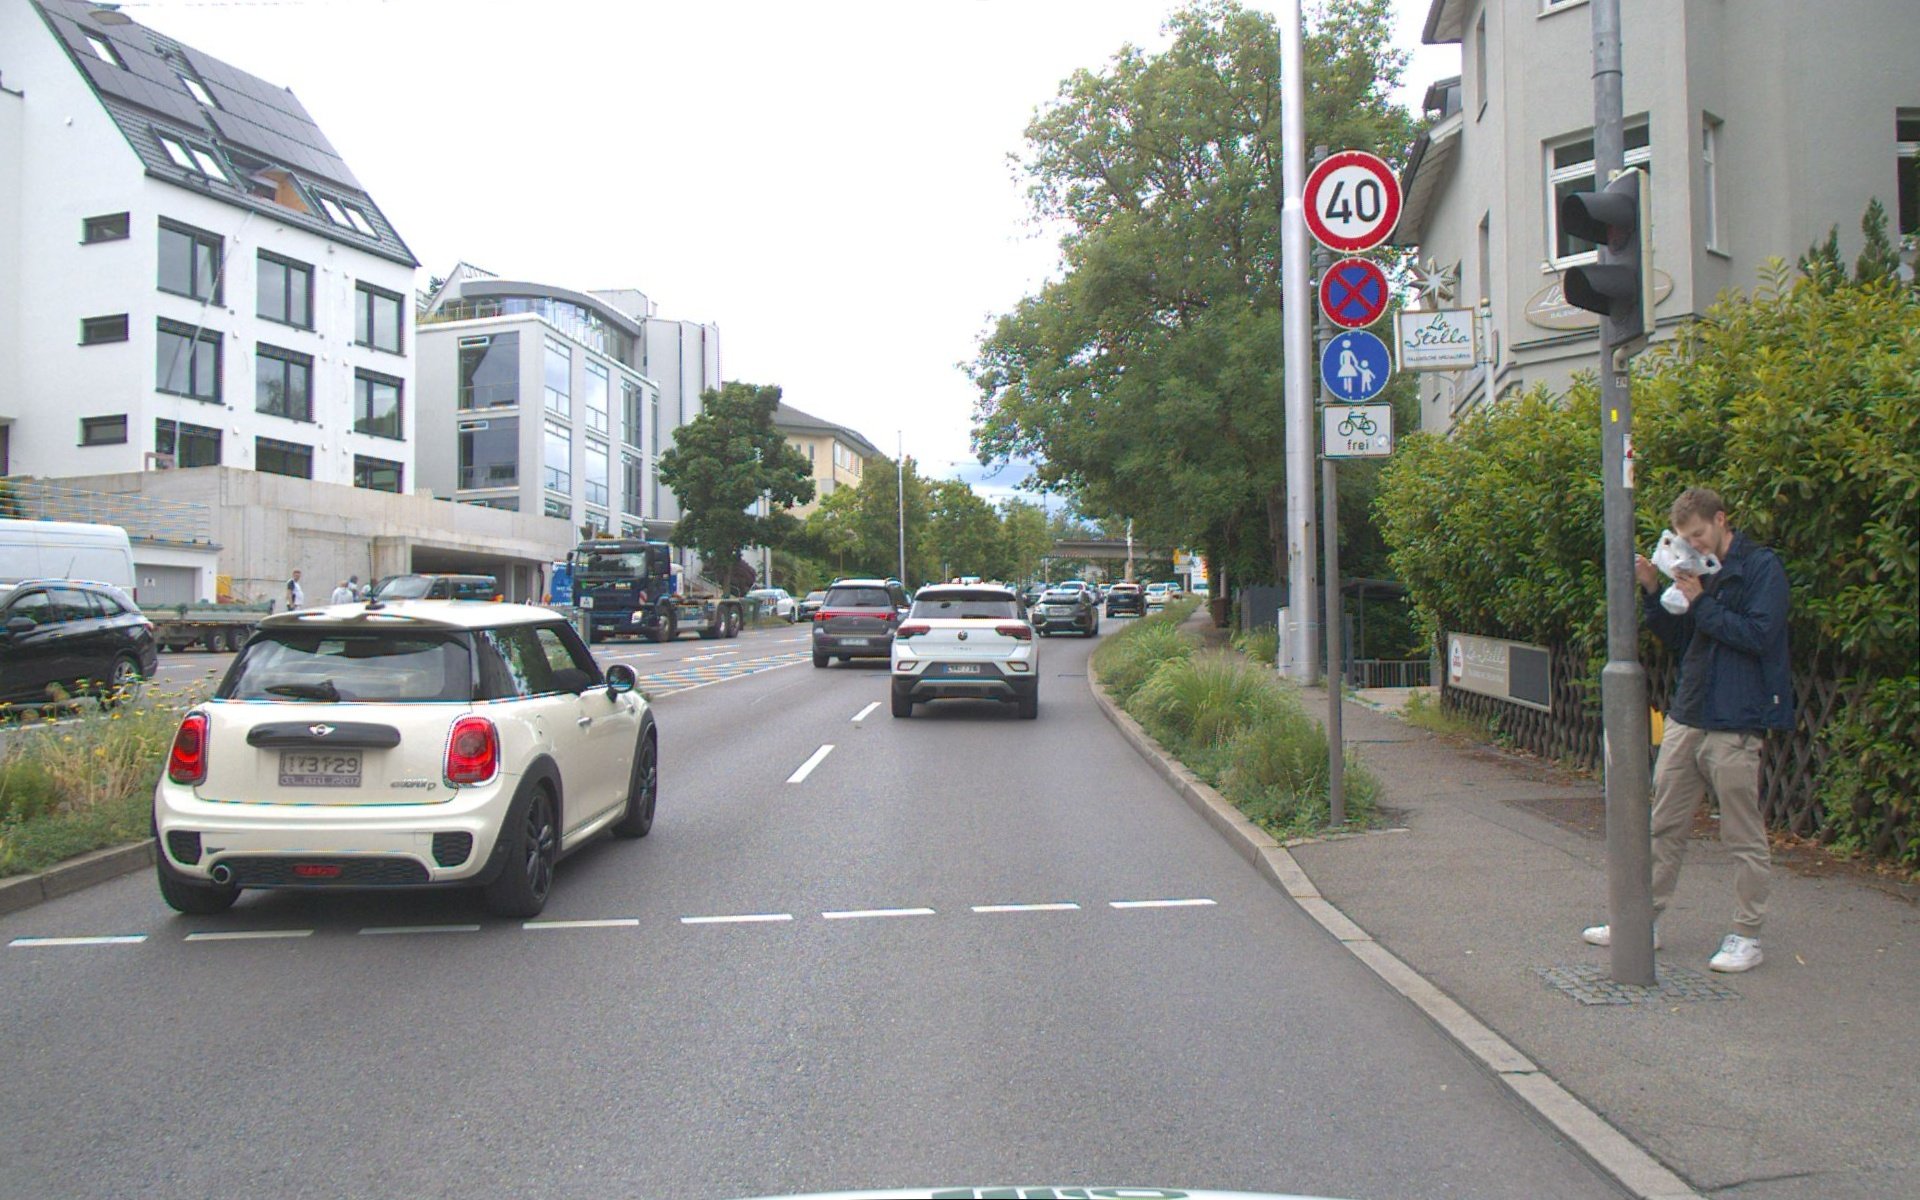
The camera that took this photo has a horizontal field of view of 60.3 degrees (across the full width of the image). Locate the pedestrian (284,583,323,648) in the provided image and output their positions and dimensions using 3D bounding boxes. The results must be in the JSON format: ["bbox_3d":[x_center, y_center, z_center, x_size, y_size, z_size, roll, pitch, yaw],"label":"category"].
[{"bbox_3d":[-17.161,0.402,43.259,0.612,1.669,0.672,2,0,18],"label":"pedestrian"}]

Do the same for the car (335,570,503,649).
[{"bbox_3d":[-14.515,0.222,44.739,1.940,2.001,5.223,0,0,13],"label":"car"}]

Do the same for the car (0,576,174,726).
[{"bbox_3d":[-10.489,0.504,17.742,1.656,1.527,4.557,1,0,4],"label":"car"}]

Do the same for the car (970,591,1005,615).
[{"bbox_3d":[1.984,0.211,118.001,2.025,1.685,4.696,0,0,6],"label":"car"}]

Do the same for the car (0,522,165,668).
[{"bbox_3d":[-18.082,-0.091,30.788,2.184,2.613,7.428,0,0,8],"label":"car"}]

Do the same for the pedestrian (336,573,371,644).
[{"bbox_3d":[-16.310,0.234,44.468,0.670,1.872,0.662,2,0,-41],"label":"pedestrian"}]

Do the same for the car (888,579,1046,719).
[{"bbox_3d":[0.086,0.545,20.618,1.774,1.566,3.689,-1,0,0],"label":"car"}]

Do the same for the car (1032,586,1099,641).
[{"bbox_3d":[3.316,0.426,51.190,1.833,1.527,4.558,3,0,6],"label":"car"}]

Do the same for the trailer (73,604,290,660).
[{"bbox_3d":[-17.158,0.679,36.757,2.198,1.131,4.626,0,0,8],"label":"trailer"}]

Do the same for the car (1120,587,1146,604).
[{"bbox_3d":[15.622,-0.413,149.609,1.820,1.526,4.054,-1,0,-1],"label":"car"}]

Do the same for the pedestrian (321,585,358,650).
[{"bbox_3d":[-16.262,0.452,43.342,0.670,1.669,0.662,2,0,-41],"label":"pedestrian"}]

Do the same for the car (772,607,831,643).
[{"bbox_3d":[-7.657,1.178,80.256,1.733,1.662,3.919,0,0,12],"label":"car"}]

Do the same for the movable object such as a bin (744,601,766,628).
[{"bbox_3d":[-7.933,0.563,63.987,0.631,1.007,0.660,0,0,18],"label":"movable object such as a bin"}]

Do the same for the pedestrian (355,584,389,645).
[{"bbox_3d":[-16.198,0.395,45.566,0.670,1.669,0.662,2,0,-41],"label":"pedestrian"}]

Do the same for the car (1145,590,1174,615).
[{"bbox_3d":[12.652,0.136,104.842,1.818,1.526,4.059,-1,0,7],"label":"car"}]

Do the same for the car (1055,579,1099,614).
[{"bbox_3d":[5.922,-0.176,83.479,1.818,1.681,4.640,-1,0,8],"label":"car"}]

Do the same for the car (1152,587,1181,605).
[{"bbox_3d":[18.357,-0.391,147.231,1.945,1.526,4.055,-1,0,-1],"label":"car"}]

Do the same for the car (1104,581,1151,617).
[{"bbox_3d":[7.816,-0.030,76.911,1.833,1.527,4.558,3,0,9],"label":"car"}]

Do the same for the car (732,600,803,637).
[{"bbox_3d":[-8.298,0.796,71.674,1.733,1.525,4.308,0,0,12],"label":"car"}]

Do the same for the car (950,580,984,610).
[{"bbox_3d":[0.581,-0.412,132.459,2.024,2.346,5.469,0,0,7],"label":"car"}]

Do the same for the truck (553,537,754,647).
[{"bbox_3d":[-9.033,-0.256,50.108,2.898,3.023,8.986,1,0,11],"label":"truck"}]

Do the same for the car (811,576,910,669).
[{"bbox_3d":[-1.905,0.397,32.599,1.776,1.681,4.634,-1,0,-2],"label":"car"}]

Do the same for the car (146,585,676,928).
[{"bbox_3d":[-2.628,0.650,8.778,1.594,1.417,3.566,-1,0,0],"label":"car"}]

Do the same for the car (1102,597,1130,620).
[{"bbox_3d":[11.006,0.589,116.585,1.818,1.526,4.059,-1,0,7],"label":"car"}]

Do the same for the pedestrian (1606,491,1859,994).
[{"bbox_3d":[3.010,0.533,6.490,0.679,1.866,0.620,1,0,-1],"label":"pedestrian"}]
